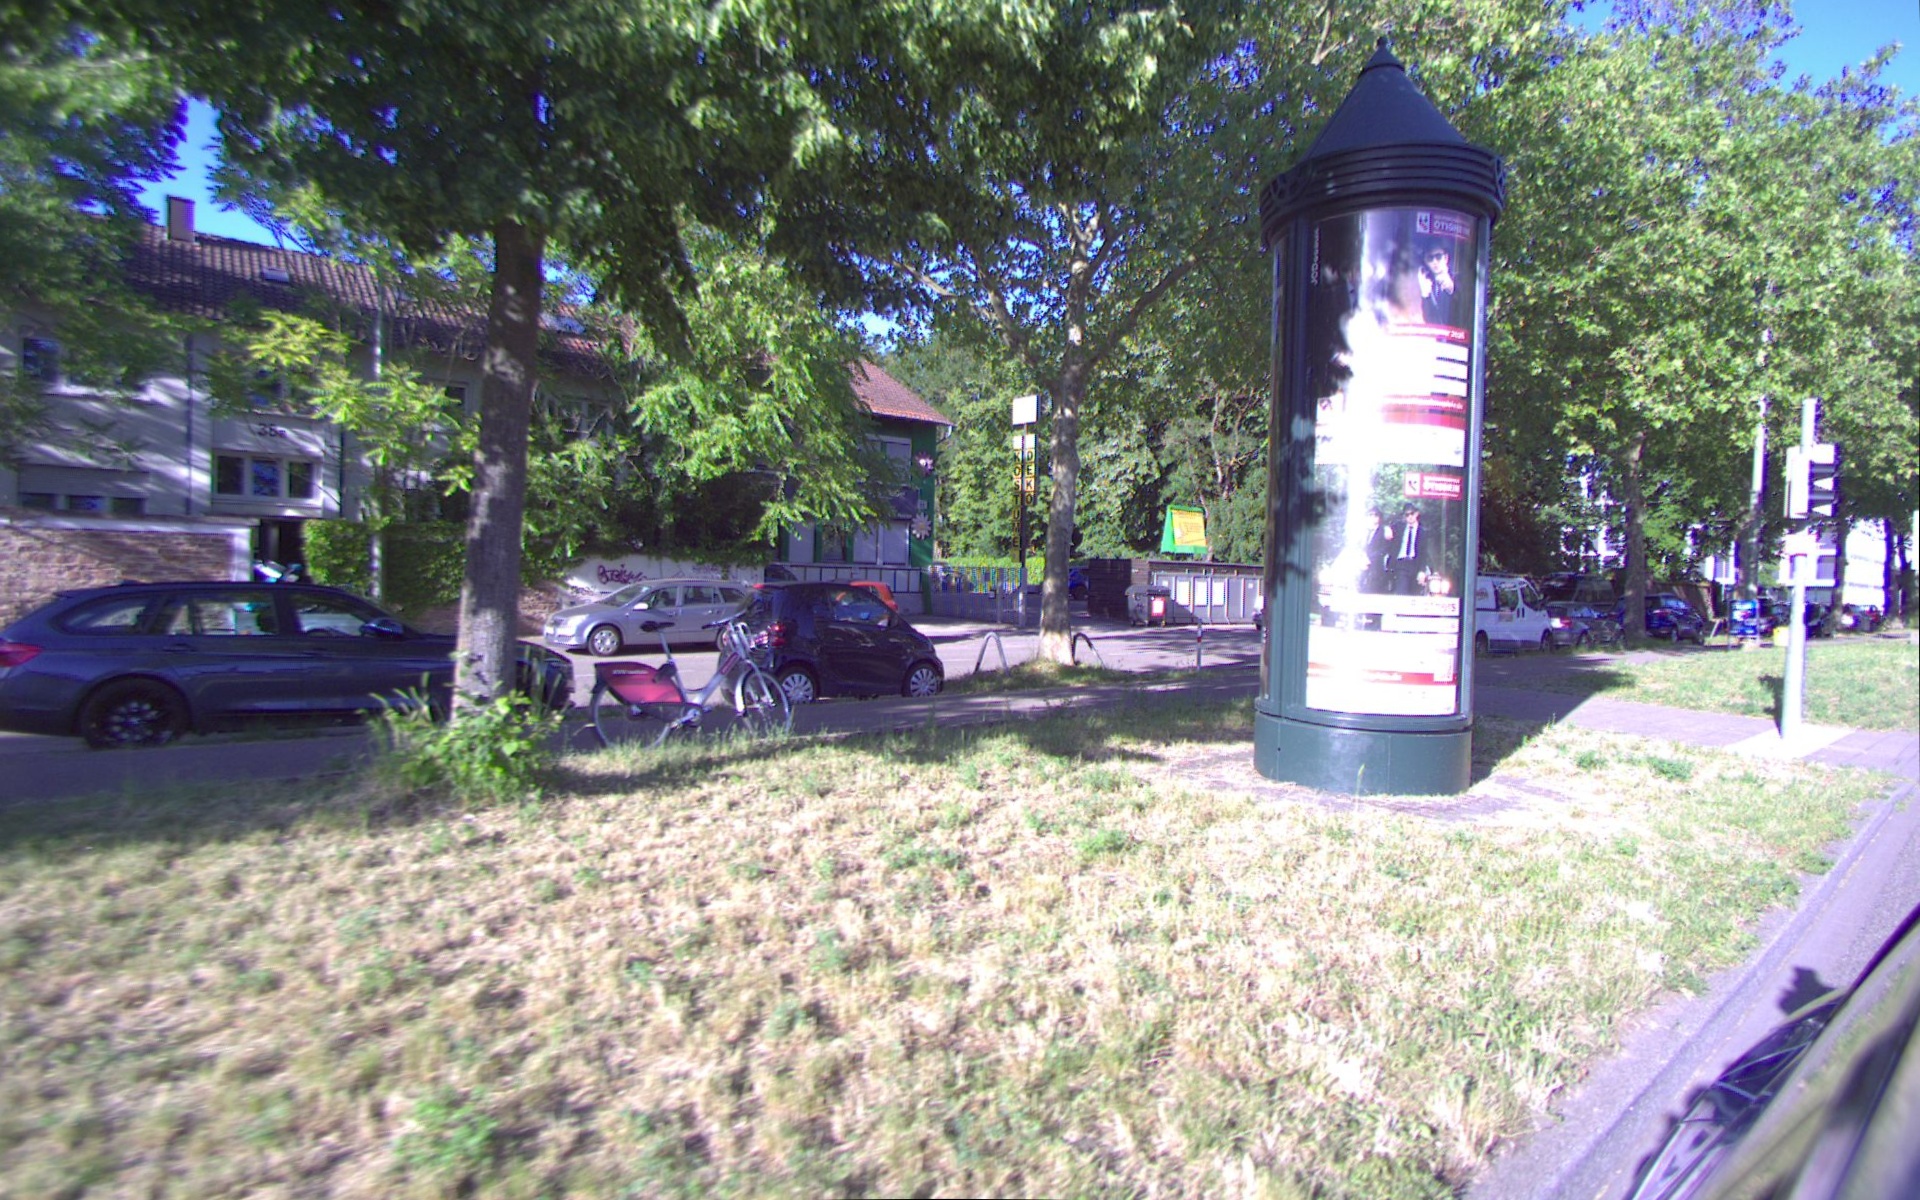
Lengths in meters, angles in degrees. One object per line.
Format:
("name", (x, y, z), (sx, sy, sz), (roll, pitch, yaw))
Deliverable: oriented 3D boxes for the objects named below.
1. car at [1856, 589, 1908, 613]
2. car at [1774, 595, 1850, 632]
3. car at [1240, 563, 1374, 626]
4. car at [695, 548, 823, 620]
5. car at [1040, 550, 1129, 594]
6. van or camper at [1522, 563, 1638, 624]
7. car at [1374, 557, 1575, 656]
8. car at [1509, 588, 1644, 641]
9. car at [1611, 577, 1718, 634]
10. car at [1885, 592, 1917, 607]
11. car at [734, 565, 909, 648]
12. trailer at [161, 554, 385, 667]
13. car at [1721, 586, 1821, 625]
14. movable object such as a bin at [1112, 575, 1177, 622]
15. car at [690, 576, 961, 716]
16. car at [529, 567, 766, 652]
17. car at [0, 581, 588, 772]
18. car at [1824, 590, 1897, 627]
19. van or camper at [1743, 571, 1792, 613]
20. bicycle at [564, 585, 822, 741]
("car", (64.474, 0.046, 70.824), (1.985, 1.660, 3.954), (0, 1, 32))
("car", (35.370, 0.530, 41.981), (3.816, 1.456, 1.796), (-1, 1, -40))
("car", (12.227, -0.214, 35.516), (4.851, 2.039, 2.093), (0, 1, -37))
("car", (-5.763, -0.437, 28.749), (1.817, 1.874, 4.090), (-1, 1, -41))
("car", (5.954, -1.298, 48.144), (3.925, 2.039, 1.999), (-1, 0, -36))
("van or camper", (30.616, -0.321, 49.877), (6.442, 2.716, 2.565), (1, 3, -37))
("car", (12.136, 0.103, 23.664), (5.718, 2.039, 2.194), (-1, 1, -41))
("car", (16.759, 0.343, 27.438), (3.982, 1.306, 1.997), (-1, 1, -41))
("car", (22.034, 0.123, 31.602), (4.276, 1.662, 1.740), (-1, 1, -41))
("car", (105.662, -0.095, 113.594), (4.323, 1.503, 1.999), (0, 5, -39))
("car", (-3.164, 0.104, 23.331), (3.420, 1.626, 1.998), (-1, 6, -42))
("trailer", (-11.417, 0.117, 16.902), (2.967, 1.660, 1.736), (-1, 4, -38))
("car", (31.138, 0.200, 38.815), (4.592, 1.399, 1.998), (0, 0, -39))
("movable object such as a bin", (6.400, -0.065, 35.085), (1.461, 1.487, 1.647), (-1, 4, -42))
("car", (-1.638, 0.483, 12.607), (2.935, 1.519, 1.665), (-1, 0, -39))
("car", (-6.403, 0.130, 20.901), (4.245, 1.501, 2.000), (-1, 4, -38))
("car", (-6.104, 0.538, 9.353), (4.656, 1.402, 2.005), (-1, 1, -36))
("car", (40.778, 0.364, 45.811), (3.948, 1.580, 1.797), (-1, -1, -39))
("van or camper", (57.494, -0.568, 72.019), (4.884, 2.763, 1.996), (-1, 5, -45))
("bicycle", (-1.982, 0.421, 7.703), (1.870, 1.060, 0.494), (-1, 0, -40))
